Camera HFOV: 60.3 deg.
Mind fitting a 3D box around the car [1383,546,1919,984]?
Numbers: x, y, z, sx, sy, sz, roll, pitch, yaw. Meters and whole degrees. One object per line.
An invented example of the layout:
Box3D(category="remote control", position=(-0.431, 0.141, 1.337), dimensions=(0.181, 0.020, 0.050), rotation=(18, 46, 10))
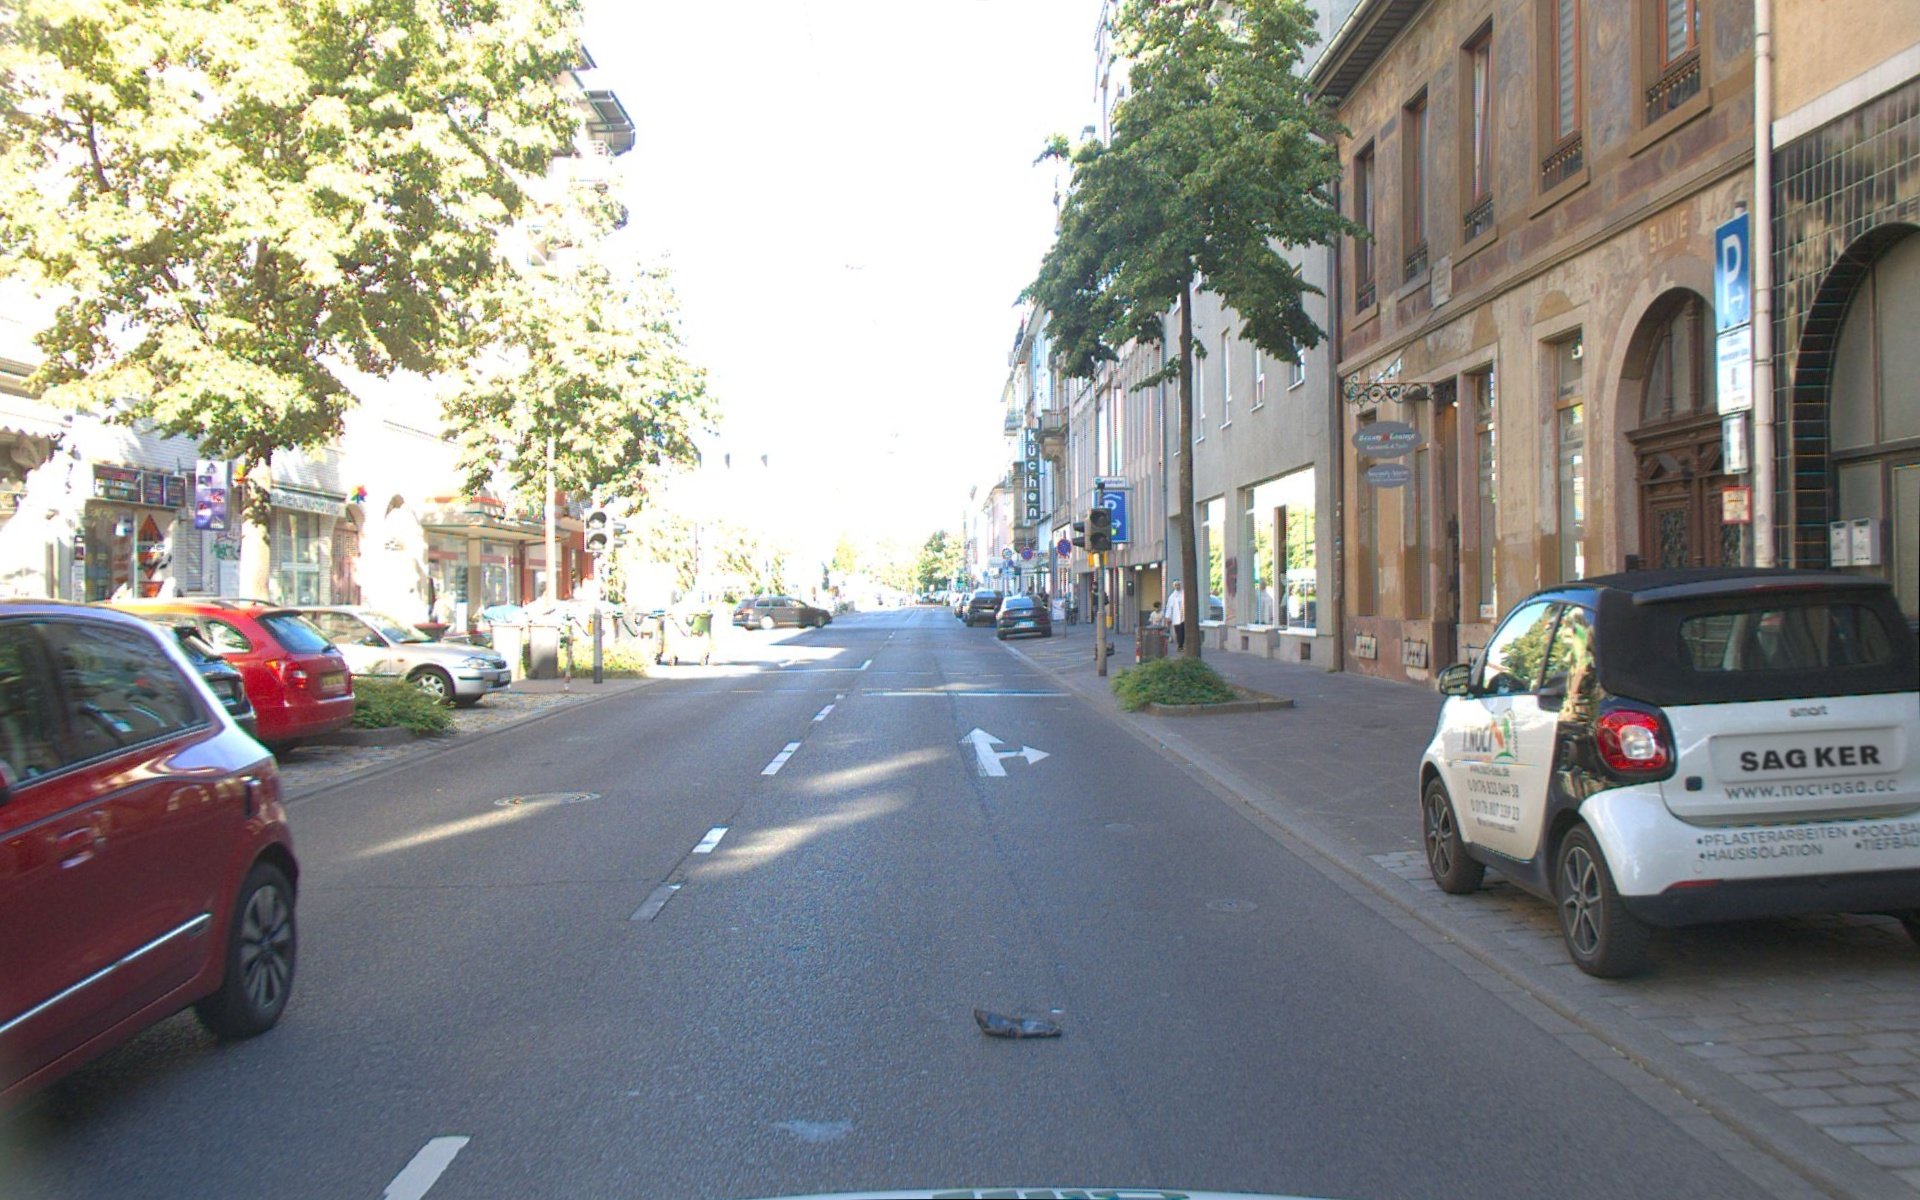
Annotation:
Box3D(category="car", position=(3.207, 0.590, 7.633), dimensions=(1.581, 1.555, 3.059), rotation=(-3, 0, -2))

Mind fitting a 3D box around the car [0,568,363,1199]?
Box3D(category="car", position=(-3.129, 0.733, 4.519), dimensions=(1.624, 1.562, 3.760), rotation=(-2, 0, -1))

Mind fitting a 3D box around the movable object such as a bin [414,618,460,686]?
Box3D(category="movable object such as a bin", position=(-8.717, 0.857, 27.574), dimensions=(0.520, 1.088, 0.805), rotation=(-1, 0, -2))

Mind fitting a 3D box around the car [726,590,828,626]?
Box3D(category="car", position=(-8.104, 0.335, 73.457), dimensions=(4.234, 1.513, 1.912), rotation=(-1, 0, -42))

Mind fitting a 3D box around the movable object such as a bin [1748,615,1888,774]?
Box3D(category="movable object such as a bin", position=(6.110, 0.657, 11.808), dimensions=(0.576, 1.058, 0.722), rotation=(-3, 0, 0))

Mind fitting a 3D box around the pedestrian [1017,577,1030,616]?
Box3D(category="pedestrian", position=(3.000, -0.166, 77.887), dimensions=(0.607, 1.797, 0.518), rotation=(-1, 0, 1))

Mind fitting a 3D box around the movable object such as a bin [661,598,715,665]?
Box3D(category="movable object such as a bin", position=(-6.242, 0.709, 38.067), dimensions=(1.021, 1.497, 1.452), rotation=(-1, 0, -2))

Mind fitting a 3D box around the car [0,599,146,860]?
Box3D(category="car", position=(-7.527, 0.761, 10.490), dimensions=(3.838, 1.511, 1.771), rotation=(0, 0, 0))

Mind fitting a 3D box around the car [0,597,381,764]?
Box3D(category="car", position=(-7.668, 0.722, 15.789), dimensions=(3.672, 1.494, 1.739), rotation=(0, 0, -2))

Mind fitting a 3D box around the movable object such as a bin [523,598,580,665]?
Box3D(category="movable object such as a bin", position=(-9.363, 0.705, 37.936), dimensions=(1.021, 1.497, 1.143), rotation=(-1, 0, -2))

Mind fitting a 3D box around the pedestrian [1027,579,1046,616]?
Box3D(category="pedestrian", position=(3.594, -0.134, 77.853), dimensions=(0.784, 1.704, 0.589), rotation=(-2, 0, 1))

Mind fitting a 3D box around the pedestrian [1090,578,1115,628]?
Box3D(category="pedestrian", position=(4.826, 0.099, 56.113), dimensions=(0.678, 1.664, 0.889), rotation=(-3, 0, -2))

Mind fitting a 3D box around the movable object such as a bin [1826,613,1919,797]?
Box3D(category="movable object such as a bin", position=(5.810, 0.625, 10.202), dimensions=(0.511, 1.058, 0.722), rotation=(-3, 0, 0))

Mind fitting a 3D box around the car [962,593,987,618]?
Box3D(category="car", position=(0.917, 0.325, 107.328), dimensions=(1.580, 1.573, 2.855), rotation=(1, 0, 0))

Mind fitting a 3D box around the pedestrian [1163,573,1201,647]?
Box3D(category="pedestrian", position=(4.930, 0.212, 36.760), dimensions=(0.569, 1.586, 1.020), rotation=(-4, 0, -2))

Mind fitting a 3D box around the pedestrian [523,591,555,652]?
Box3D(category="pedestrian", position=(-11.875, 0.585, 46.687), dimensions=(0.651, 1.688, 1.036), rotation=(-1, 0, -2))

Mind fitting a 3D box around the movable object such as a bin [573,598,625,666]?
Box3D(category="movable object such as a bin", position=(-8.285, 0.723, 37.977), dimensions=(0.944, 1.497, 1.143), rotation=(-1, 0, -2))

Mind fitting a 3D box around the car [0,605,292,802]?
Box3D(category="car", position=(-7.604, 0.777, 13.257), dimensions=(3.762, 1.454, 1.789), rotation=(0, 0, 0))

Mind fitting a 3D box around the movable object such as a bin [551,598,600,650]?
Box3D(category="movable object such as a bin", position=(-10.450, 0.629, 44.981), dimensions=(1.021, 1.369, 1.313), rotation=(-1, 0, -2))

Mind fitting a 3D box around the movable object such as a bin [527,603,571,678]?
Box3D(category="movable object such as a bin", position=(-7.735, 0.756, 31.147), dimensions=(0.621, 1.364, 0.805), rotation=(-1, 0, -2))

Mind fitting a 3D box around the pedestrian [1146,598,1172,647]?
Box3D(category="pedestrian", position=(4.401, 0.487, 36.638), dimensions=(0.385, 1.051, 0.739), rotation=(-4, 0, -2))

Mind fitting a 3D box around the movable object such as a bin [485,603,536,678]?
Box3D(category="movable object such as a bin", position=(-8.441, 0.748, 31.087), dimensions=(0.739, 1.364, 0.805), rotation=(-1, 0, -2))

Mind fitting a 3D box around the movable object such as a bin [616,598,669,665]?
Box3D(category="movable object such as a bin", position=(-7.292, 0.718, 38.032), dimensions=(1.021, 1.497, 1.143), rotation=(-1, 0, -2))

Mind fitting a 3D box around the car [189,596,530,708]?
Box3D(category="car", position=(-8.290, 0.695, 23.075), dimensions=(4.116, 1.494, 1.740), rotation=(0, 0, 1))

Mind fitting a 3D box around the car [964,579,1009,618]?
Box3D(category="car", position=(1.199, -0.090, 76.754), dimensions=(1.933, 1.755, 4.823), rotation=(1, 1, -1))

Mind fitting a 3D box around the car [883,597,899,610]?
Box3D(category="car", position=(-9.503, 0.477, 228.086), dimensions=(1.952, 1.802, 4.000), rotation=(0, 1, 0))

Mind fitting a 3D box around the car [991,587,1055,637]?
Box3D(category="car", position=(2.134, 0.372, 57.374), dimensions=(1.879, 1.504, 4.963), rotation=(-5, 0, -1))
